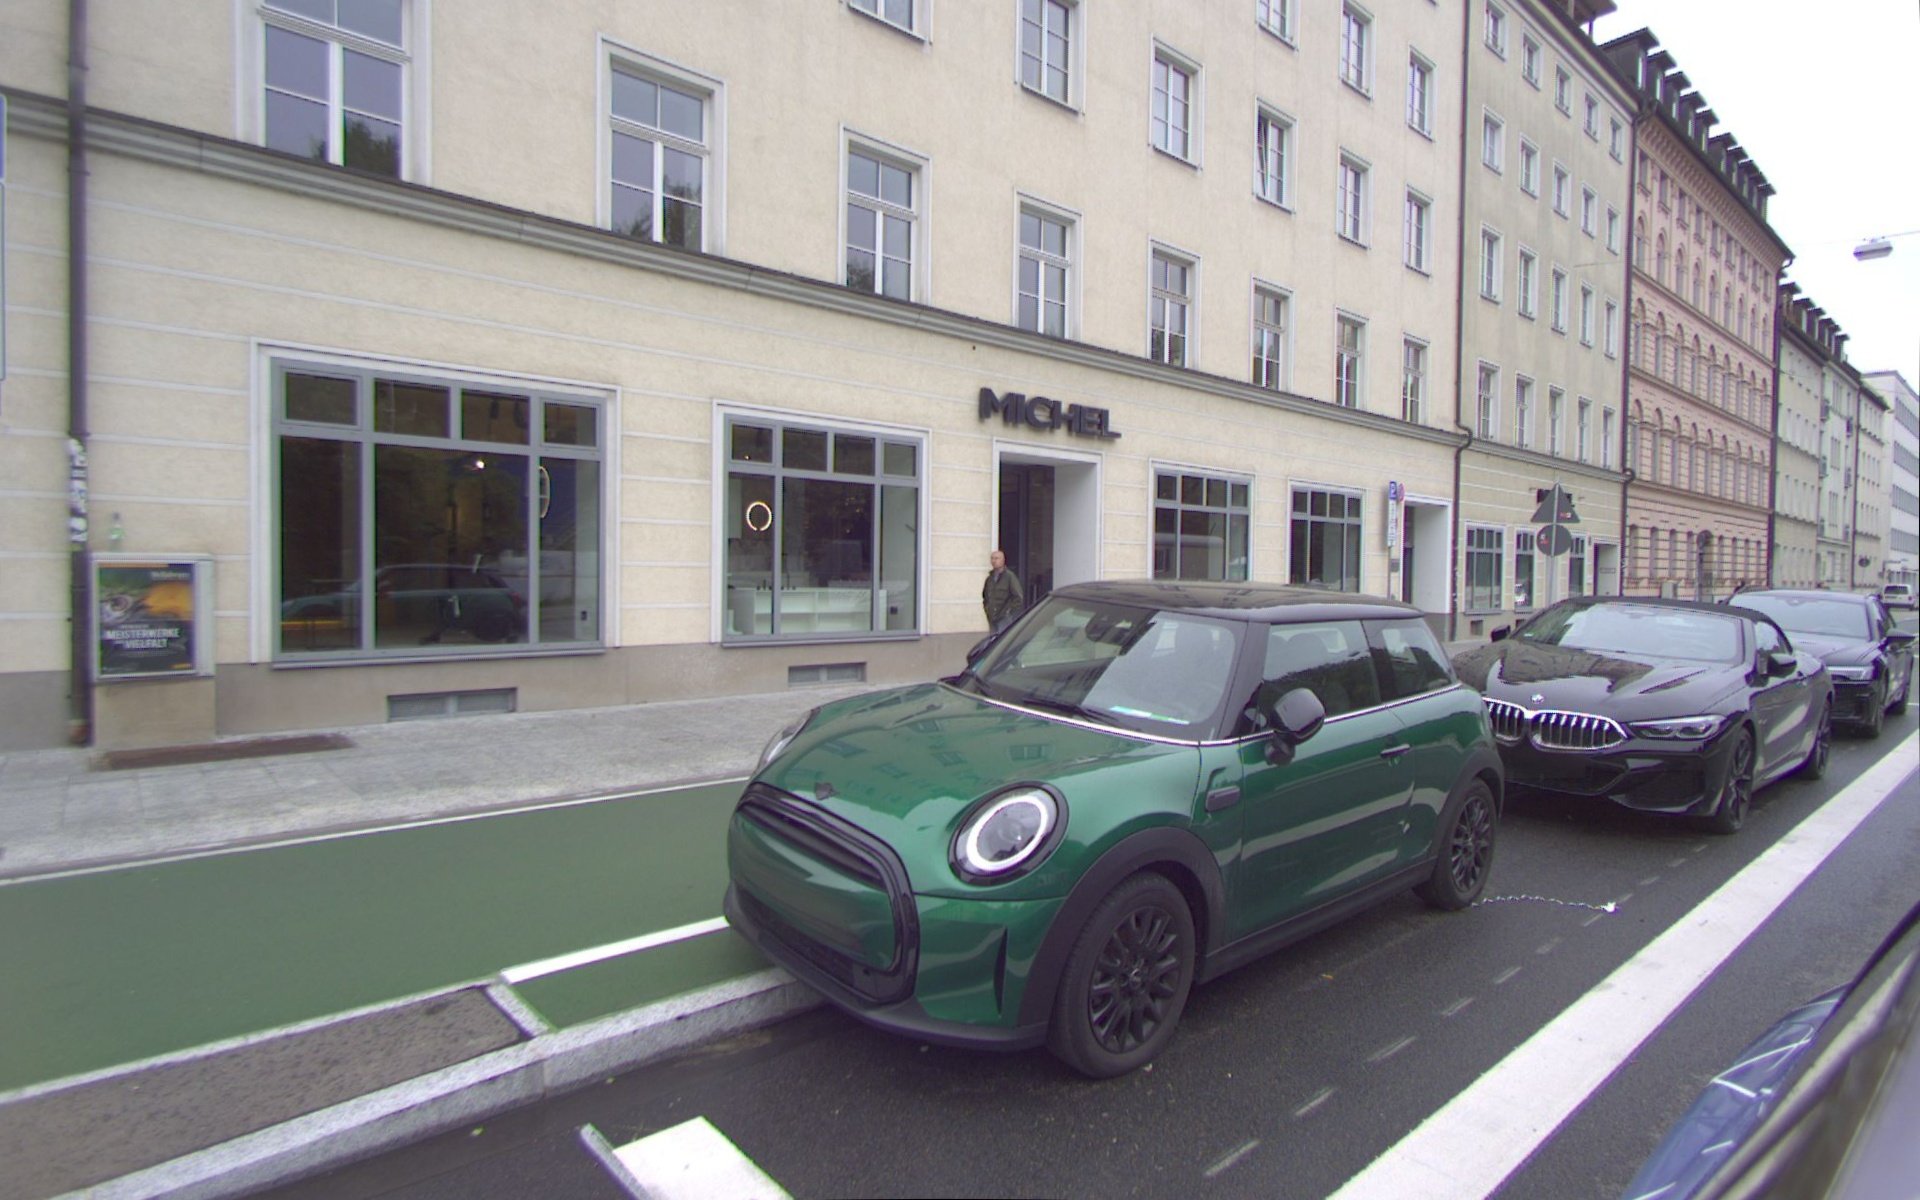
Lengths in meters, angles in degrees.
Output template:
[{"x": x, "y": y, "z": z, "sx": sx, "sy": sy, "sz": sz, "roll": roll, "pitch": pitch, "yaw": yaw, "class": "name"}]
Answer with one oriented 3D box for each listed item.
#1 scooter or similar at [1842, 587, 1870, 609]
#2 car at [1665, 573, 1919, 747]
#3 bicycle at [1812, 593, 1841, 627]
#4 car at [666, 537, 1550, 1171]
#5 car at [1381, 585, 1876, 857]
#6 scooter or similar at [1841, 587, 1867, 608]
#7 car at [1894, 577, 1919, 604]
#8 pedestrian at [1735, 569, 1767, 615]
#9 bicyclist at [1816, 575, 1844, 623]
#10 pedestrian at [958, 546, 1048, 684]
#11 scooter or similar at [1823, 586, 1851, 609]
[{"x": 51.752, "y": -0.125, "z": 58.443, "sx": 1.063, "sy": 1.207, "sz": 0.451, "roll": 1, "pitch": 1, "yaw": 20, "class": "scooter or similar"}, {"x": 9.784, "y": 0.526, "z": 11.595, "sx": 4.387, "sy": 1.498, "sz": 1.812, "roll": -1, "pitch": 6, "yaw": -43, "class": "car"}, {"x": 27.794, "y": 0.304, "z": 32.445, "sx": 0.630, "sy": 1.050, "sz": 1.987, "roll": 2, "pitch": 2, "yaw": 42, "class": "bicycle"}, {"x": 0.877, "y": 0.597, "z": 4.322, "sx": 3.761, "sy": 1.540, "sz": 1.678, "roll": 0, "pitch": 1, "yaw": -40, "class": "car"}, {"x": 5.145, "y": 0.608, "z": 7.502, "sx": 4.636, "sy": 1.425, "sz": 1.829, "roll": 0, "pitch": 1, "yaw": -40, "class": "car"}, {"x": 52.560, "y": -0.129, "z": 59.518, "sx": 1.059, "sy": 1.207, "sz": 0.436, "roll": 1, "pitch": 1, "yaw": 10, "class": "scooter or similar"}, {"x": 65.362, "y": -0.655, "z": 69.231, "sx": 3.931, "sy": 1.855, "sz": 1.764, "roll": -1, "pitch": 2, "yaw": -42, "class": "car"}, {"x": 30.797, "y": -0.316, "z": 39.390, "sx": 0.819, "sy": 1.767, "sz": 0.795, "roll": 0, "pitch": 1, "yaw": -40, "class": "pedestrian"}, {"x": 27.861, "y": -0.045, "z": 32.404, "sx": 0.630, "sy": 1.485, "sz": 0.643, "roll": 2, "pitch": 2, "yaw": 42, "class": "bicyclist"}, {"x": 0.556, "y": 0.169, "z": 13.150, "sx": 0.846, "sy": 1.710, "sz": 0.780, "roll": 0, "pitch": 2, "yaw": -40, "class": "pedestrian"}, {"x": 48.061, "y": -0.135, "z": 55.449, "sx": 1.055, "sy": 1.261, "sz": 0.554, "roll": 1, "pitch": 1, "yaw": -6, "class": "scooter or similar"}]
